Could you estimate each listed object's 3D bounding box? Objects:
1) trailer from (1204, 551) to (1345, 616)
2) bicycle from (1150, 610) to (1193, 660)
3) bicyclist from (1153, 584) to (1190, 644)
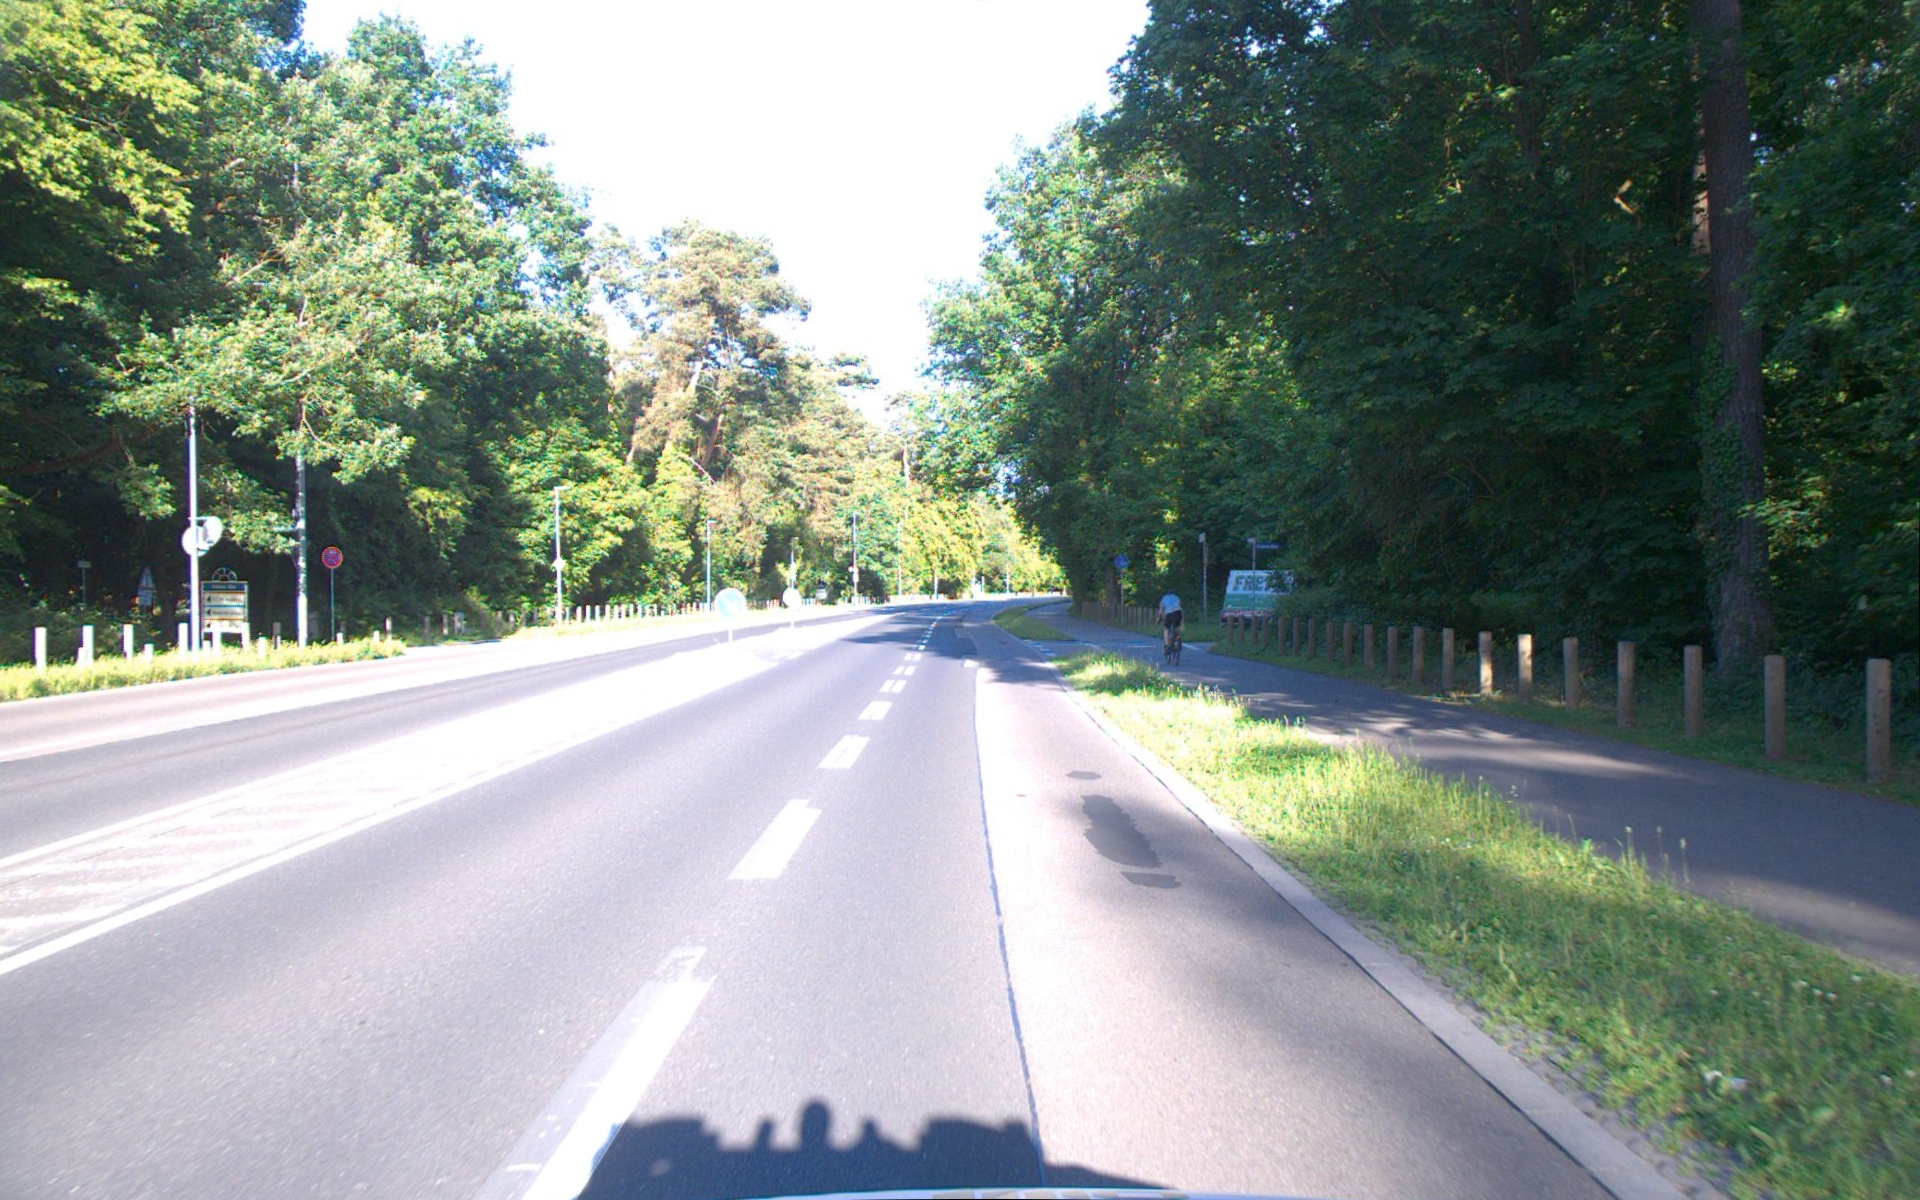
[{"bbox_3d":[10.342,-0.516,54.514,4.150,2.057,1.989,-1,0,41],"label":"trailer"},{"bbox_3d":[4.724,0.766,37.072,0.697,1.074,2.053,0,0,0],"label":"bicycle"},{"bbox_3d":[4.727,0.299,37.002,0.697,1.311,1.104,0,0,0],"label":"bicyclist"}]
